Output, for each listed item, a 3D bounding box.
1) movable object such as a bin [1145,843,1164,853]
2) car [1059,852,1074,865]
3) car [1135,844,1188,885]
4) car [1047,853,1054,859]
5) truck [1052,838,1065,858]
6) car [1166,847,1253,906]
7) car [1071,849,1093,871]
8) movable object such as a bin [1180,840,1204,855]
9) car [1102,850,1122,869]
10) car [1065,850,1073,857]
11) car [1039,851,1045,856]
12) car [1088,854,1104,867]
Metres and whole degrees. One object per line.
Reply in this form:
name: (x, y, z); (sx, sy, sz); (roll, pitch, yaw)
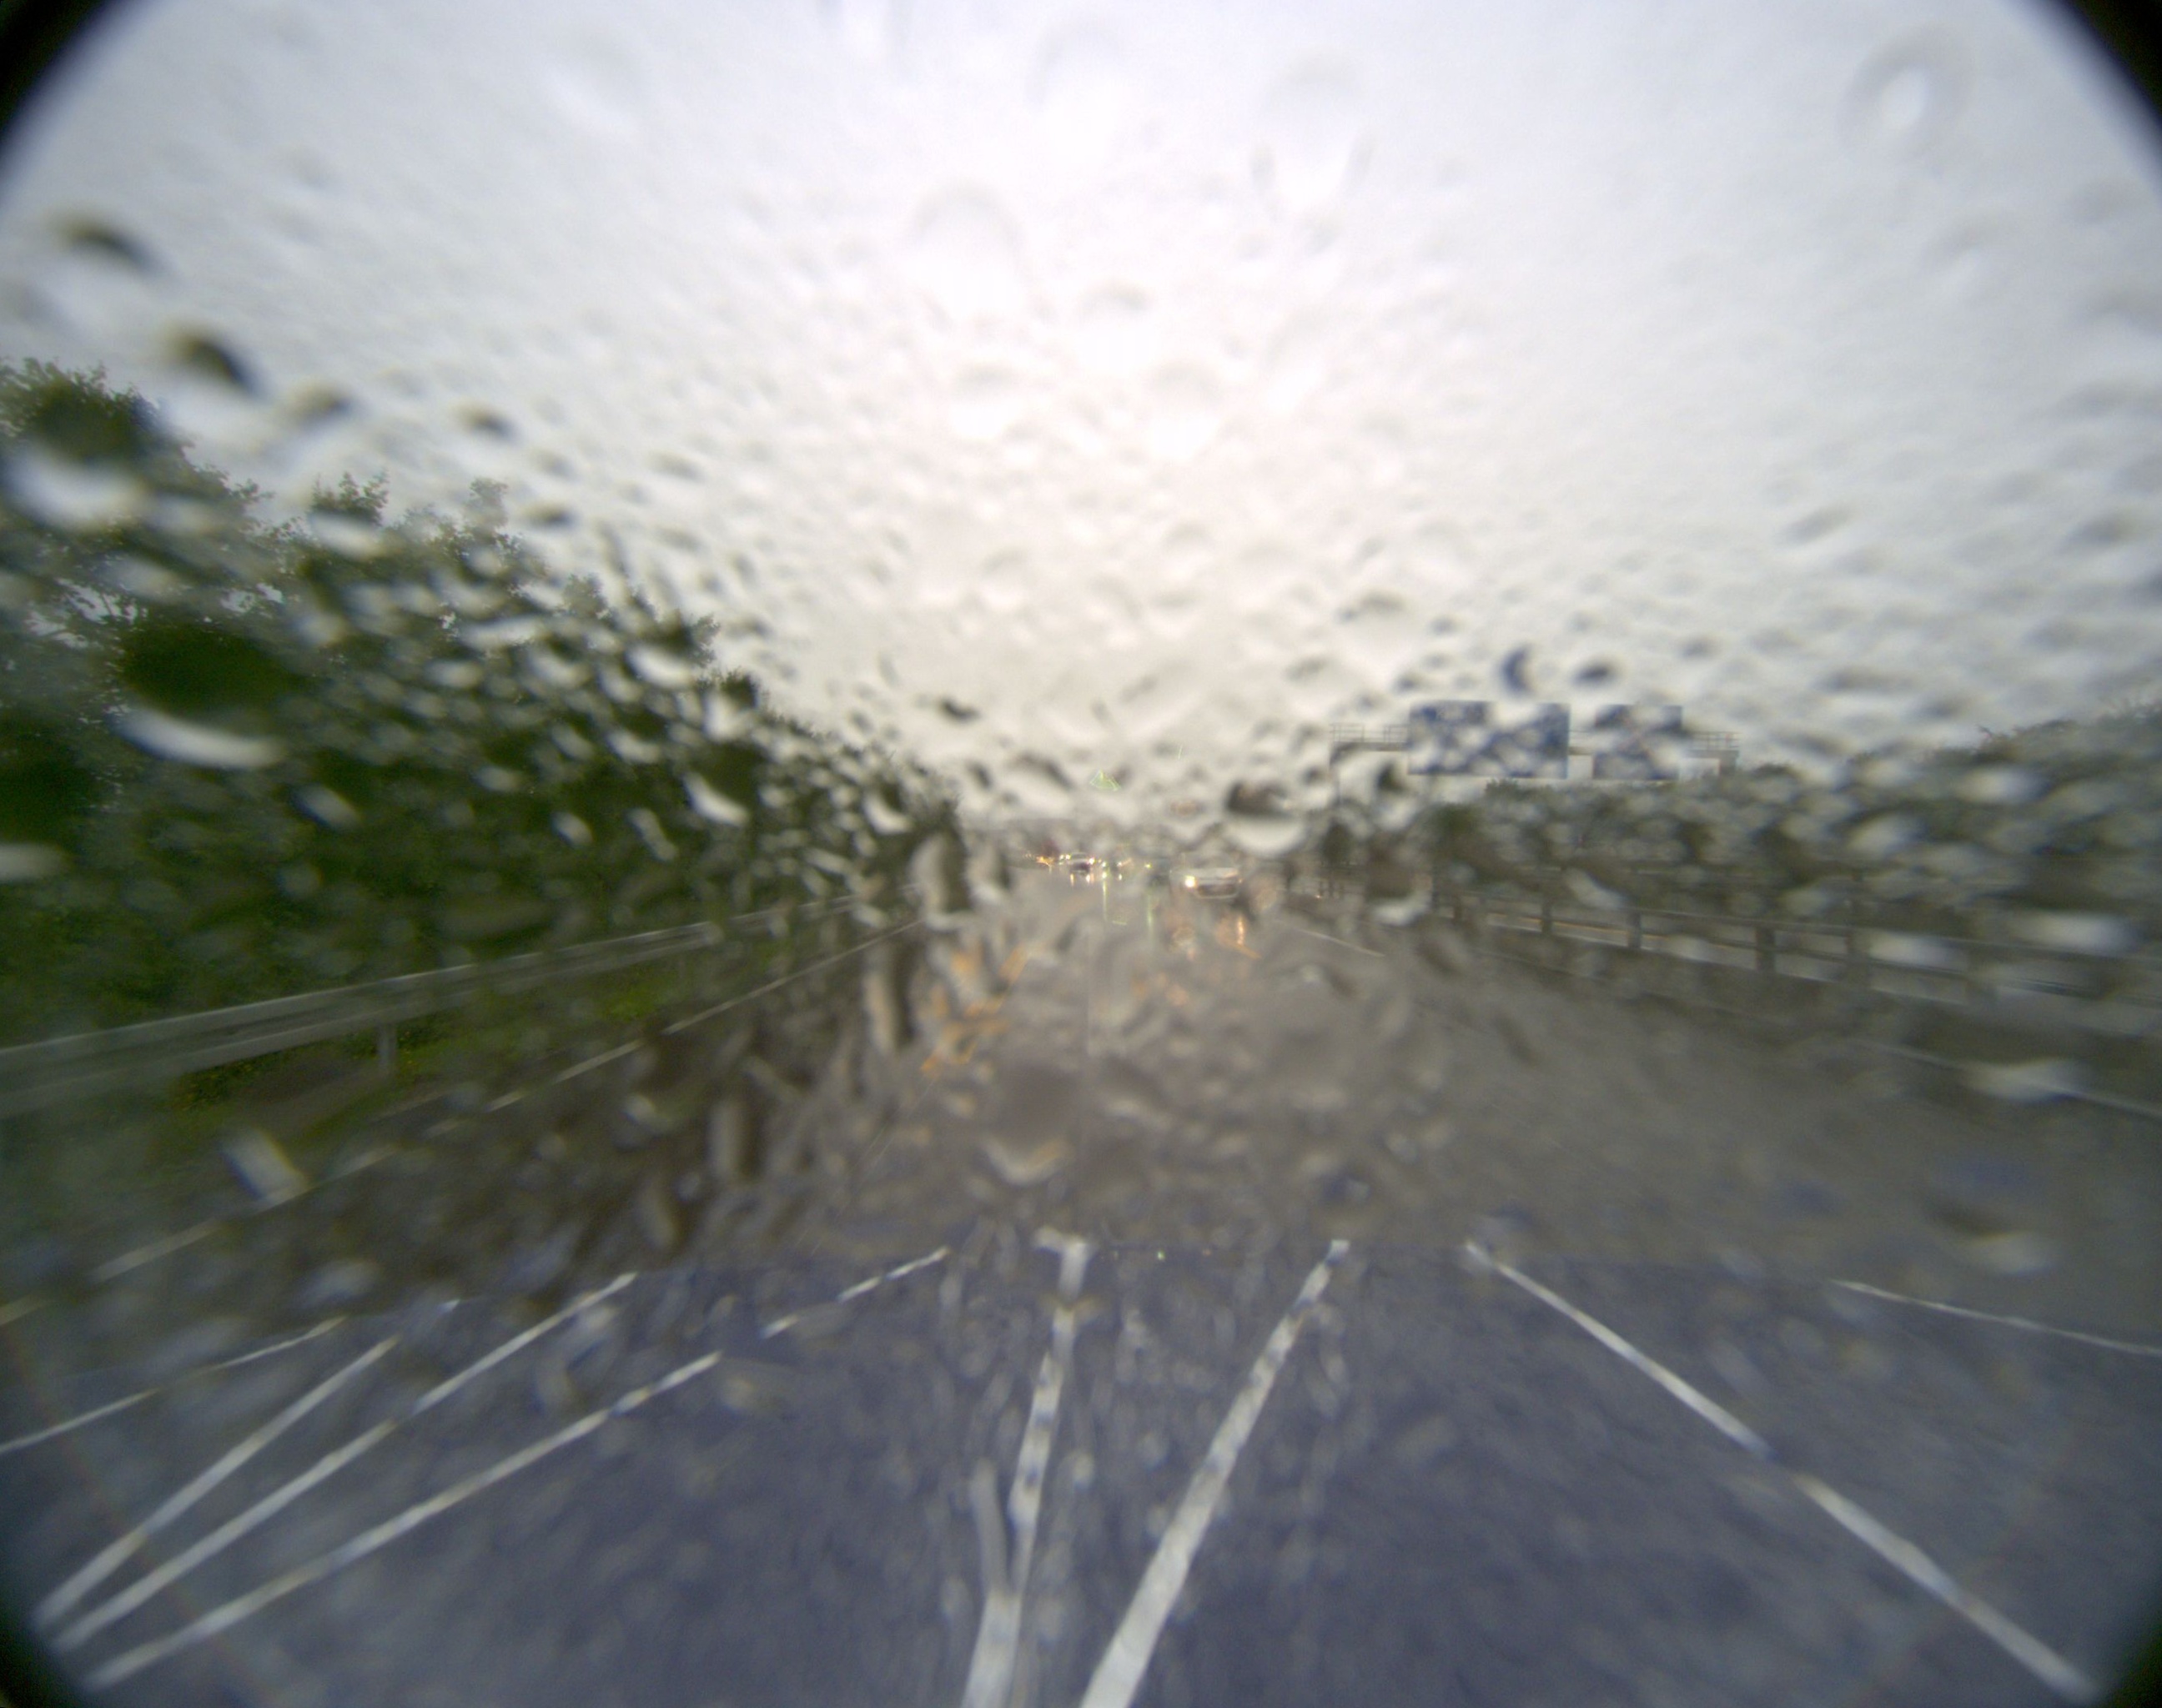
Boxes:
movable object such as a bin: (18.962, -1.470, 196.253); (3.449, 2.281, 5.096); (-3, 1, -9)
car: (-1.897, 0.559, 98.681); (1.882, 1.656, 3.998); (-2, 1, -3)
car: (4.266, 0.499, 41.173); (2.211, 2.002, 5.563); (-3, 1, 0)
car: (-8.324, 0.562, 208.972); (1.752, 1.579, 3.998); (-3, 1, -3)
truck: (-4.960, -1.332, 163.674); (2.484, 4.061, 8.701); (-3, 1, -3)
car: (3.844, 0.665, 23.499); (1.978, 1.586, 4.310); (-2, -1, 1)
car: (0.045, 0.594, 75.317); (1.882, 2.002, 3.998); (-3, 1, -3)
movable object such as a bin: (22.574, -1.399, 155.009); (3.775, 2.782, 6.328); (-3, 1, -2)
car: (3.146, 0.536, 77.405); (1.695, 1.740, 3.999); (-3, 1, -2)
car: (-2.915, -0.210, 187.084); (1.752, 1.579, 3.998); (-3, 1, -3)
car: (-12.166, -0.074, 236.317); (1.752, 1.579, 3.998); (-3, 1, -3)
car: (2.030, 0.908, 104.350); (1.845, 1.586, 3.998); (-3, 1, -3)
